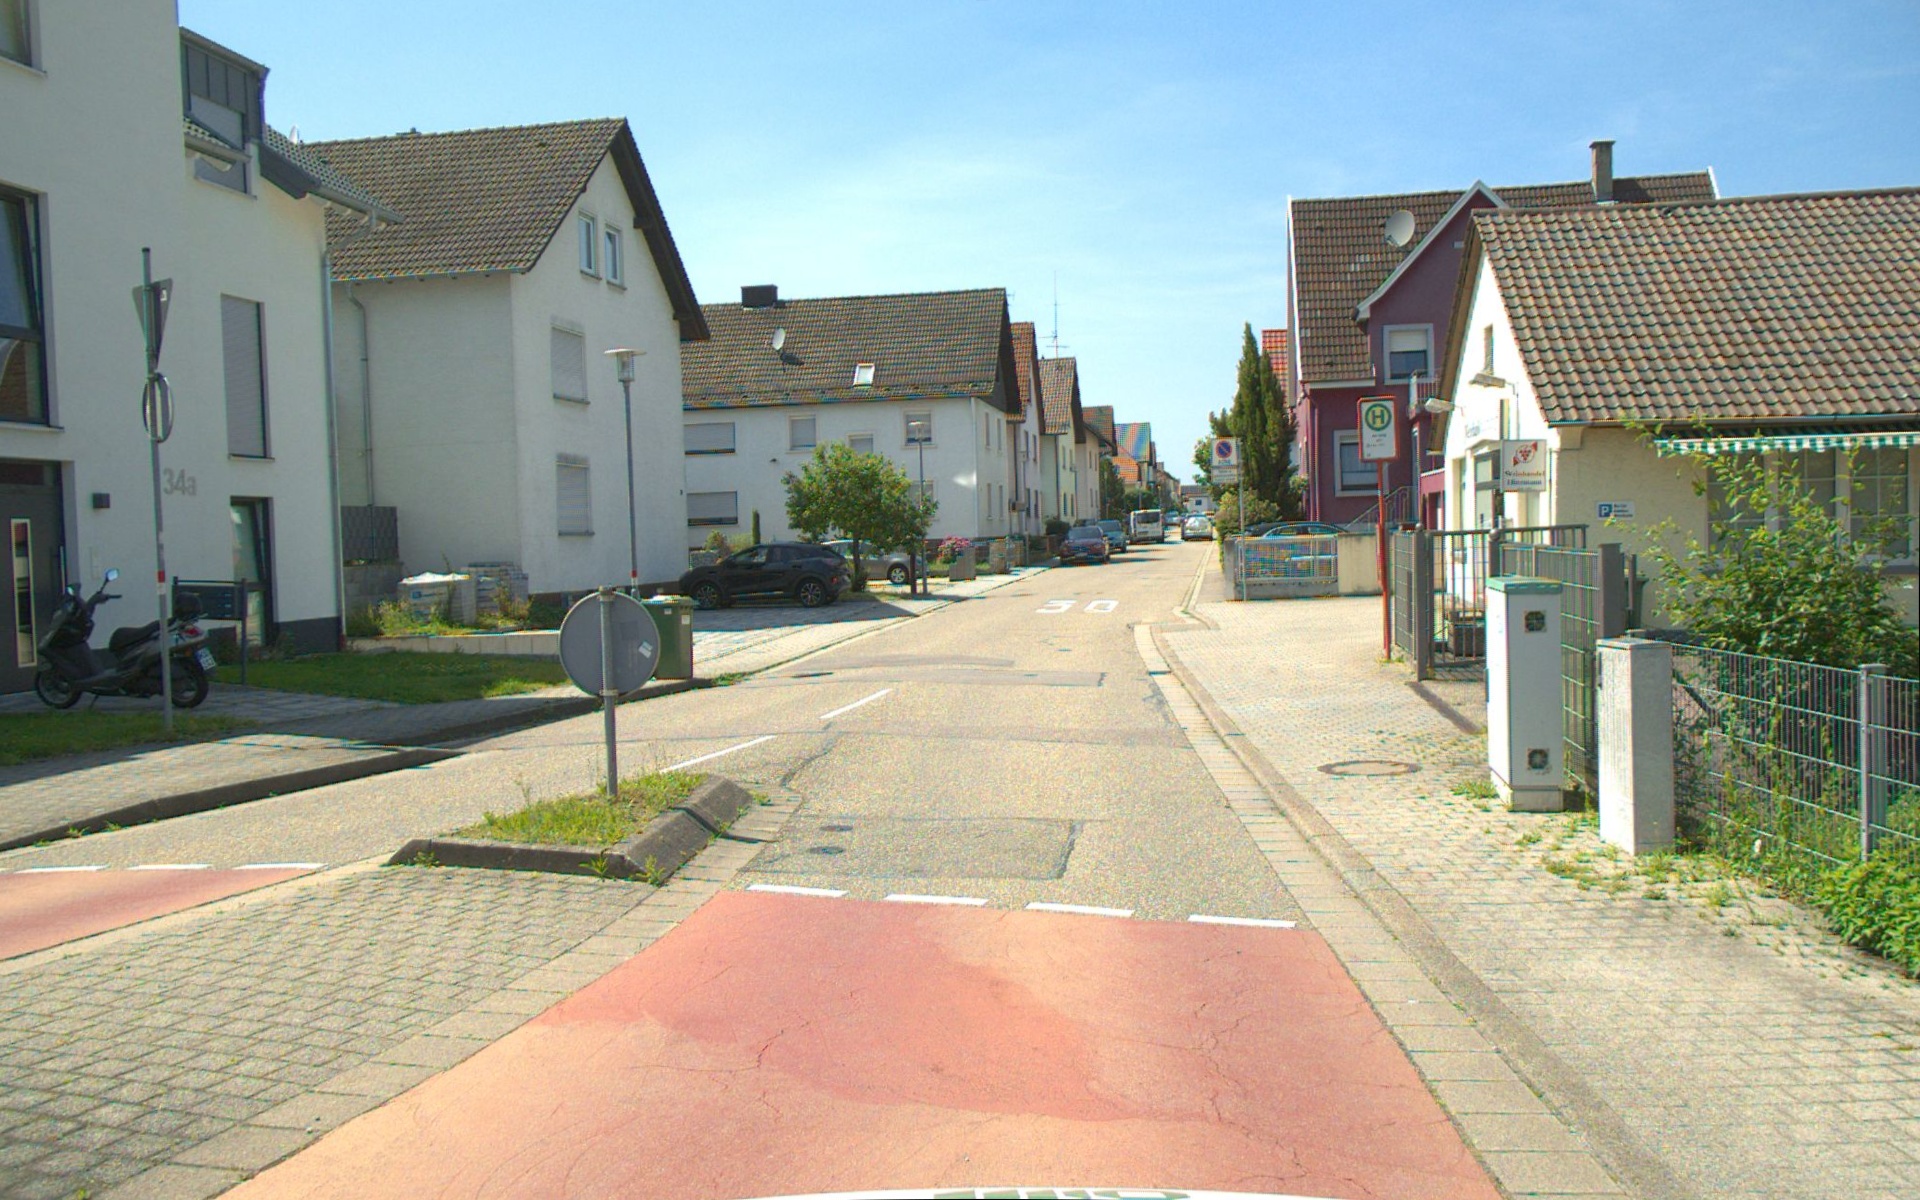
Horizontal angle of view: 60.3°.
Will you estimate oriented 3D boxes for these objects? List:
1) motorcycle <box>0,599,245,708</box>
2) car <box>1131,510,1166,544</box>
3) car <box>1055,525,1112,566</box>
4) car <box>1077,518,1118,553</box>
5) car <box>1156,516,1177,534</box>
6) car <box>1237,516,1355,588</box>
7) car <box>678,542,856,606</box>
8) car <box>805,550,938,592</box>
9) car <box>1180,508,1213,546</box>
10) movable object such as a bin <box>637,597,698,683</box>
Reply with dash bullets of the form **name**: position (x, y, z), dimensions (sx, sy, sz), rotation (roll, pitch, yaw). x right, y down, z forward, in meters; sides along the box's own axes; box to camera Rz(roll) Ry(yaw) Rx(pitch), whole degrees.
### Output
- **motorcycle**: position (-8.390, 0.530, 16.529), dimensions (2.310, 1.031, 0.672), rotation (-1, 0, 12)
- **car**: position (11.072, -4.259, 97.034), dimensions (1.812, 1.818, 4.004), rotation (-2, 1, 9)
- **car**: position (5.115, -2.242, 68.105), dimensions (1.951, 1.580, 4.004), rotation (-1, 2, 10)
- **car**: position (6.854, -3.205, 82.597), dimensions (1.884, 1.632, 4.002), rotation (-1, 2, 3)
- **car**: position (22.142, -8.005, 177.358), dimensions (1.912, 1.845, 4.004), rotation (0, 1, 12)
- **car**: position (8.054, -1.136, 39.771), dimensions (2.685, 1.625, 1.172), rotation (-2, 0, 8)
- **car**: position (-4.579, -0.628, 39.529), dimensions (3.902, 1.407, 1.662), rotation (-1, 2, 6)
- **car**: position (-2.770, -0.927, 52.373), dimensions (3.902, 1.211, 1.842), rotation (-1, 2, 6)
- **car**: position (14.544, -4.467, 101.617), dimensions (1.910, 2.108, 4.004), rotation (-2, 1, 9)
- **movable object such as a bin**: position (-3.846, 0.520, 21.769), dimensions (0.631, 1.102, 0.459), rotation (-1, 2, 17)
